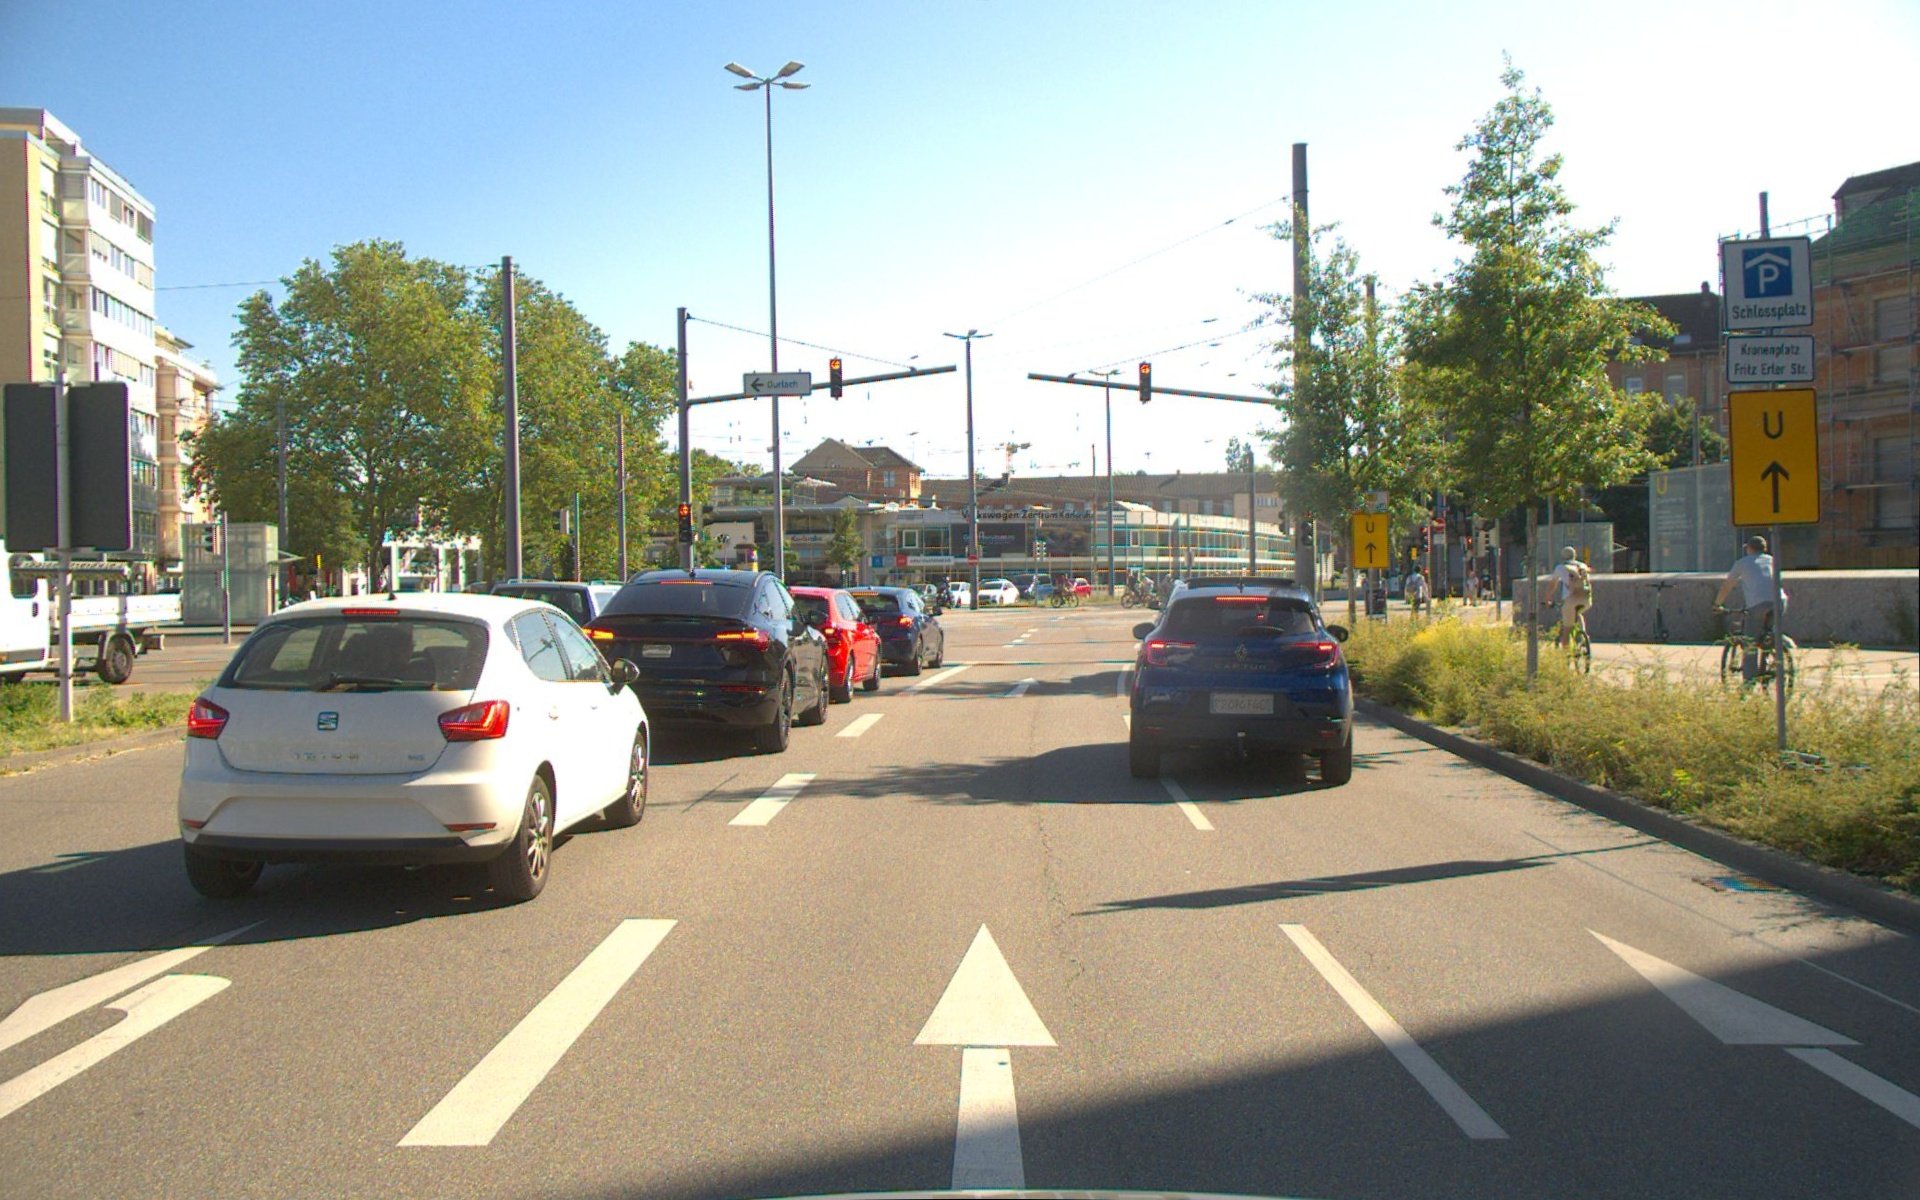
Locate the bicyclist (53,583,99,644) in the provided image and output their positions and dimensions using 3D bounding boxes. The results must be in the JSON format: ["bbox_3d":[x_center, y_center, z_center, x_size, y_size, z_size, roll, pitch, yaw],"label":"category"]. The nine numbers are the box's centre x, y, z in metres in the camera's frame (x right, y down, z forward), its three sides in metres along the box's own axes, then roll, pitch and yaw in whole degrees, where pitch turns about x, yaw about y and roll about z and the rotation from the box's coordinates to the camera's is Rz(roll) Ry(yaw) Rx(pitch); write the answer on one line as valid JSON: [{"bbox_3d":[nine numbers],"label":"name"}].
[{"bbox_3d":[-21.692,0.331,40.605,0.758,1.469,0.643,0,0,3],"label":"bicyclist"}]

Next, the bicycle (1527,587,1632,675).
[{"bbox_3d":[8.940,0.425,23.939,0.731,1.185,1.869,-1,1,-3],"label":"bicycle"}]

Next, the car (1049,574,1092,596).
[{"bbox_3d":[7.735,-1.049,115.297,1.690,1.467,4.183,2,1,23],"label":"car"}]

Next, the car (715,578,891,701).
[{"bbox_3d":[-2.024,0.468,22.287,1.636,1.467,3.724,2,1,6],"label":"car"}]

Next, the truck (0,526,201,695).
[{"bbox_3d":[-14.346,0.142,24.715,2.167,2.354,6.889,-1,0,7],"label":"truck"}]

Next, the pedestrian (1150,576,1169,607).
[{"bbox_3d":[11.034,-0.464,91.402,0.844,1.638,0.693,-2,3,-40],"label":"pedestrian"}]

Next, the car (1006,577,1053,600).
[{"bbox_3d":[4.544,-0.741,108.341,1.690,1.467,4.183,2,1,23],"label":"car"}]

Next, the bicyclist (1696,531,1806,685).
[{"bbox_3d":[8.724,0.075,18.278,0.705,1.645,0.977,-1,1,-3],"label":"bicyclist"}]

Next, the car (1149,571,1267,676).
[{"bbox_3d":[4.182,0.360,28.199,1.837,1.646,3.628,1,0,7],"label":"car"}]

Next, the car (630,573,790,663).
[{"bbox_3d":[-4.407,0.281,29.730,1.688,1.467,3.913,2,1,9],"label":"car"}]

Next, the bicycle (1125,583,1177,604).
[{"bbox_3d":[10.019,-0.341,86.803,2.589,1.114,0.969,-1,0,0],"label":"bicycle"}]

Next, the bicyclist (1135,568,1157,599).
[{"bbox_3d":[9.887,-0.871,87.915,0.967,1.632,0.758,-1,0,-6],"label":"bicyclist"}]

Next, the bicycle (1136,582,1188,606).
[{"bbox_3d":[10.862,-0.341,89.043,2.600,1.209,0.945,-1,3,-13],"label":"bicycle"}]

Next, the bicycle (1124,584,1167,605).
[{"bbox_3d":[9.854,-0.299,87.912,2.136,1.114,0.758,-1,0,-6],"label":"bicycle"}]

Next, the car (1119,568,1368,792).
[{"bbox_3d":[2.467,0.573,14.426,1.836,1.646,3.801,1,1,10],"label":"car"}]

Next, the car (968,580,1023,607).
[{"bbox_3d":[2.049,-0.395,94.293,1.690,1.467,4.183,0,1,23],"label":"car"}]

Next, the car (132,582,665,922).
[{"bbox_3d":[-2.775,0.647,9.073,1.656,1.461,3.736,1,0,0],"label":"car"}]

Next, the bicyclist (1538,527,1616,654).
[{"bbox_3d":[8.926,-0.144,23.950,0.705,1.793,0.977,-1,1,-4],"label":"bicyclist"}]

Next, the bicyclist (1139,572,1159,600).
[{"bbox_3d":[9.931,-0.741,86.798,0.942,1.474,0.969,-1,0,0],"label":"bicyclist"}]

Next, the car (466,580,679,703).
[{"bbox_3d":[-5.006,0.475,21.861,1.689,1.467,3.801,0,1,4],"label":"car"}]

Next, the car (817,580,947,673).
[{"bbox_3d":[-1.291,0.408,28.758,1.688,1.467,3.801,2,1,6],"label":"car"}]

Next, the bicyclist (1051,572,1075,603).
[{"bbox_3d":[5.524,-0.698,88.713,1.044,1.611,0.945,-1,3,-12],"label":"bicyclist"}]

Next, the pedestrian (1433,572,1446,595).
[{"bbox_3d":[30.540,-1.071,105.359,0.586,1.434,0.800,0,2,-1],"label":"pedestrian"}]

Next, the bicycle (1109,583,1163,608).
[{"bbox_3d":[9.060,-0.249,85.132,2.607,1.209,0.942,-1,3,-21],"label":"bicycle"}]

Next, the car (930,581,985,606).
[{"bbox_3d":[-0.131,-0.394,97.086,1.690,1.467,4.183,0,1,23],"label":"car"}]

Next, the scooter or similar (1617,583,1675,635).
[{"bbox_3d":[14.524,0.173,35.030,0.459,1.030,1.244,-1,3,-16],"label":"scooter or similar"}]

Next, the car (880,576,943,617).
[{"bbox_3d":[-2.636,-0.243,90.726,1.953,2.048,4.000,1,3,23],"label":"car"}]

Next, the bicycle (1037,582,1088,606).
[{"bbox_3d":[5.488,-0.323,88.718,2.600,1.209,0.945,-1,3,-13],"label":"bicycle"}]

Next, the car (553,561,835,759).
[{"bbox_3d":[-2.416,0.485,16.183,1.943,1.652,4.379,1,1,1],"label":"car"}]

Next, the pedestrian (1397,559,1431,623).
[{"bbox_3d":[12.831,-0.244,46.736,0.585,1.753,0.865,-2,-2,42],"label":"pedestrian"}]

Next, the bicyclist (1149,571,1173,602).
[{"bbox_3d":[10.799,-0.730,89.014,1.044,1.611,0.945,-1,3,-12],"label":"bicyclist"}]

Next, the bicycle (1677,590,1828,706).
[{"bbox_3d":[8.726,0.495,18.300,0.702,1.185,1.869,-1,1,-2],"label":"bicycle"}]

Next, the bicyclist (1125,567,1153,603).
[{"bbox_3d":[9.200,-0.777,85.176,1.166,1.807,0.942,-1,3,-20],"label":"bicyclist"}]
